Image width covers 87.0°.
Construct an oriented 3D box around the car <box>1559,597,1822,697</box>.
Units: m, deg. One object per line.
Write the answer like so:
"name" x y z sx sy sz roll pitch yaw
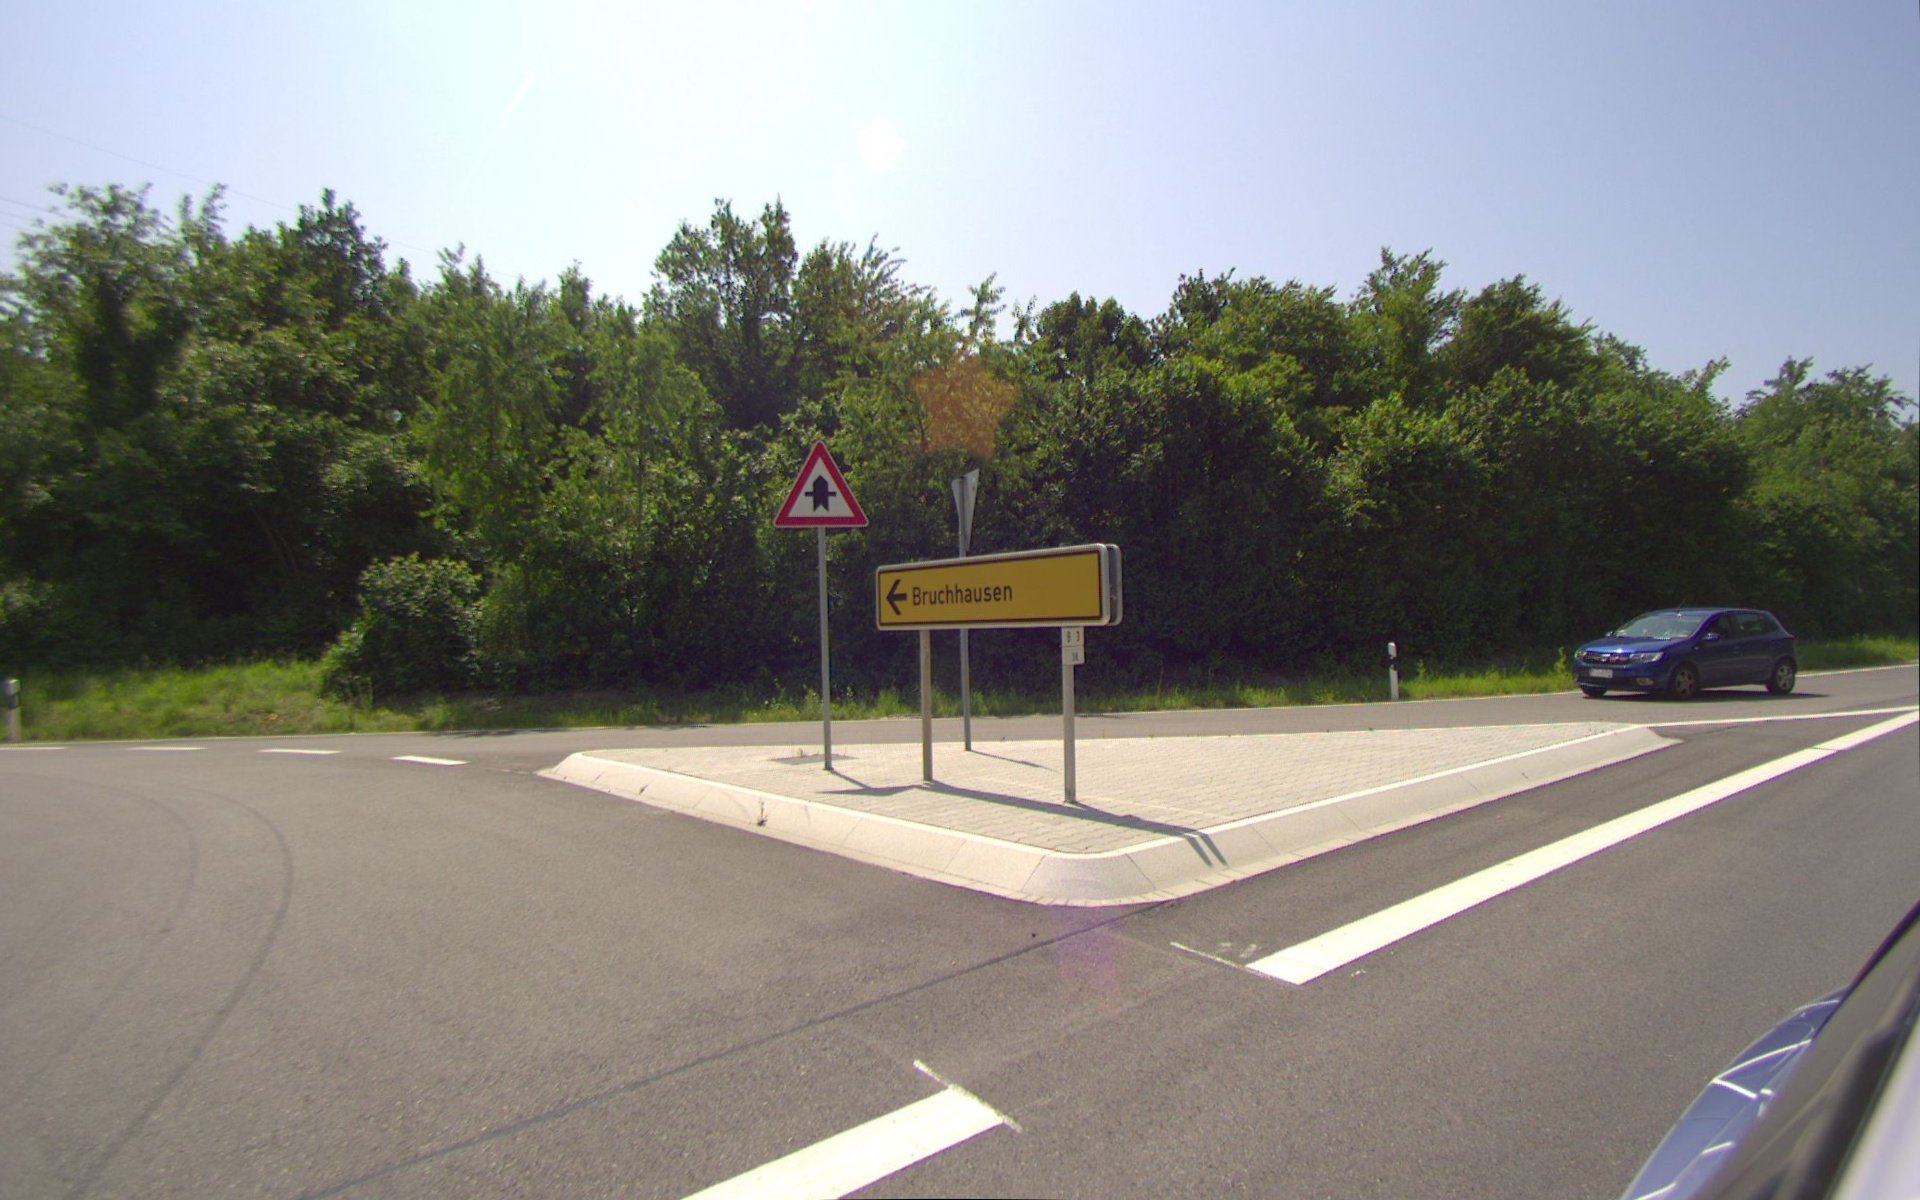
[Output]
"car" 12.674 0.786 17.598 3.862 1.561 1.812 0 -3 -20
